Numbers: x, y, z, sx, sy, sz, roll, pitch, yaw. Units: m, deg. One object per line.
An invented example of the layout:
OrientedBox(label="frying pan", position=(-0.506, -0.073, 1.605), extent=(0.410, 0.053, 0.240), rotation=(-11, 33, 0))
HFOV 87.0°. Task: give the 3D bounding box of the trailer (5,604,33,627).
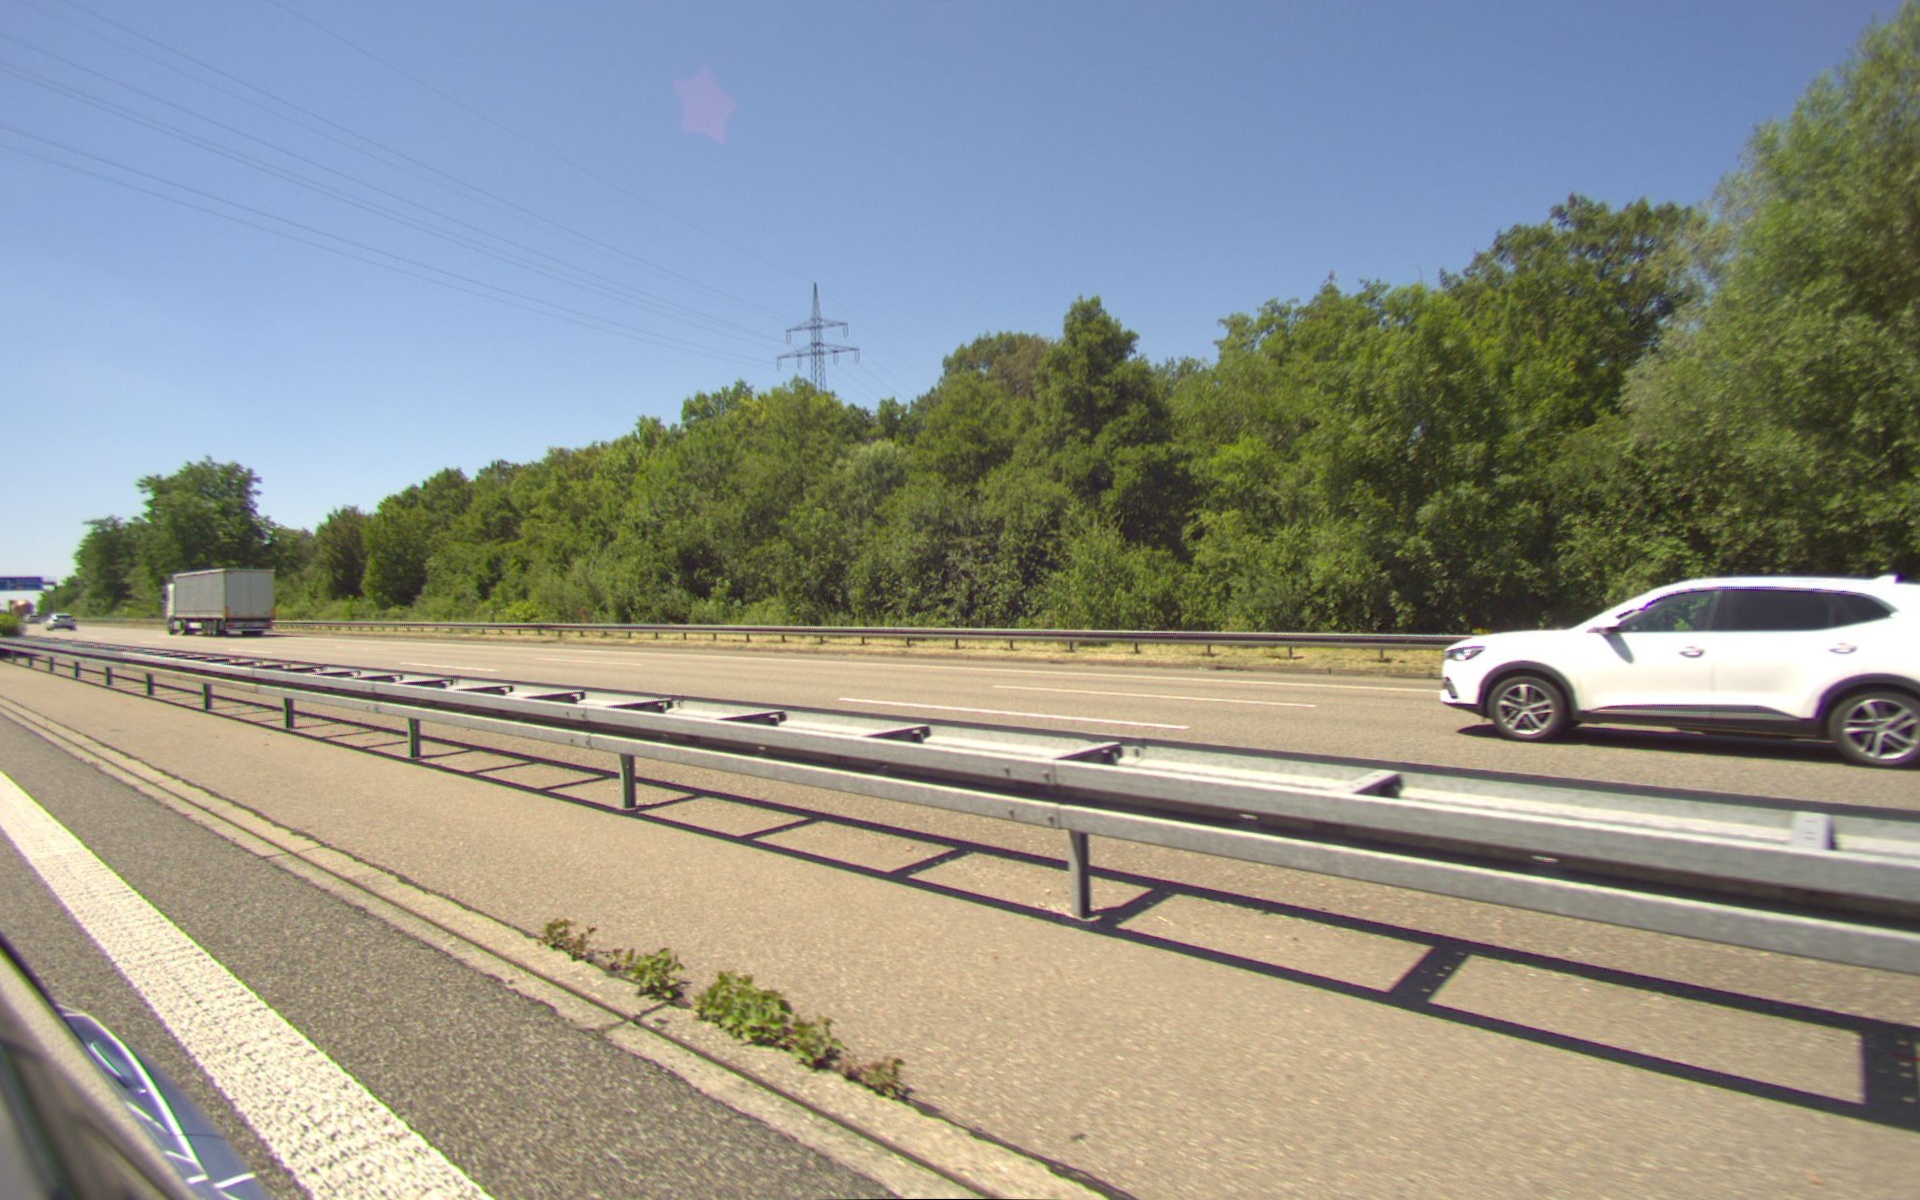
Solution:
OrientedBox(label="trailer", position=(-155.433, 2.551, 167.101), extent=(14.219, 3.623, 2.346), rotation=(-1, -1, 43))

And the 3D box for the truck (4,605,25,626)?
OrientedBox(label="truck", position=(-160.488, 2.658, 171.804), extent=(4.163, 3.629, 2.331), rotation=(-1, -1, 42))

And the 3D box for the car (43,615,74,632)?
OrientedBox(label="car", position=(-79.754, 2.081, 89.522), extent=(4.124, 1.465, 1.647), rotation=(-1, -1, 43))

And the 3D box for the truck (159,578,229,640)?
OrientedBox(label="truck", position=(-52.152, 0.645, 68.862), extent=(6.552, 4.015, 2.632), rotation=(-1, -1, 42))

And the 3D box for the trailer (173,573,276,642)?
OrientedBox(label="trailer", position=(-46.488, 0.536, 63.707), extent=(13.662, 3.996, 2.642), rotation=(-1, -1, 43))

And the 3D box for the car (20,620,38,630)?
OrientedBox(label="car", position=(-141.388, 3.727, 153.700), extent=(3.999, 1.490, 1.702), rotation=(-1, -1, 42))

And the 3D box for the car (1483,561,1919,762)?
OrientedBox(label="car", position=(7.476, 0.519, 9.763), extent=(4.016, 1.644, 1.817), rotation=(-1, -1, 40))
